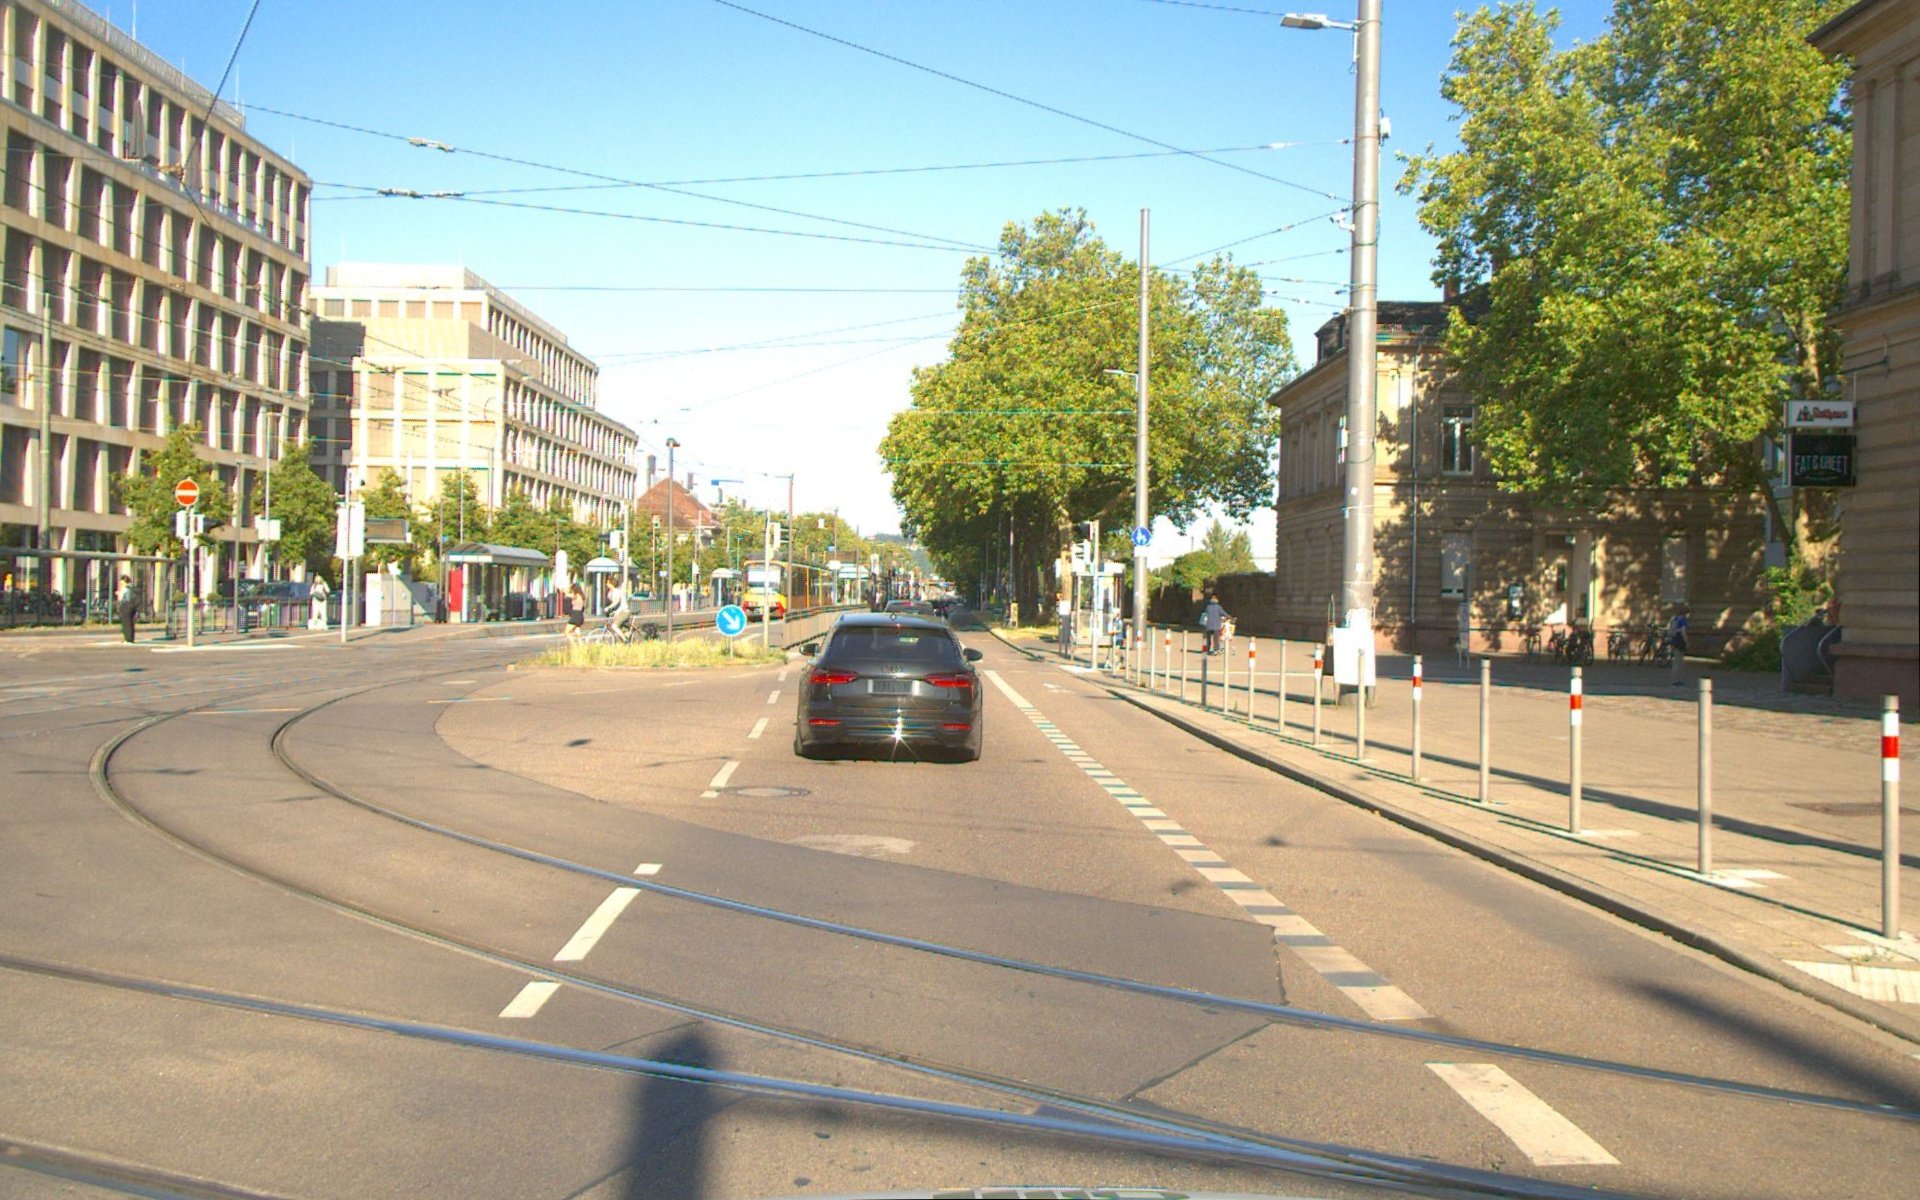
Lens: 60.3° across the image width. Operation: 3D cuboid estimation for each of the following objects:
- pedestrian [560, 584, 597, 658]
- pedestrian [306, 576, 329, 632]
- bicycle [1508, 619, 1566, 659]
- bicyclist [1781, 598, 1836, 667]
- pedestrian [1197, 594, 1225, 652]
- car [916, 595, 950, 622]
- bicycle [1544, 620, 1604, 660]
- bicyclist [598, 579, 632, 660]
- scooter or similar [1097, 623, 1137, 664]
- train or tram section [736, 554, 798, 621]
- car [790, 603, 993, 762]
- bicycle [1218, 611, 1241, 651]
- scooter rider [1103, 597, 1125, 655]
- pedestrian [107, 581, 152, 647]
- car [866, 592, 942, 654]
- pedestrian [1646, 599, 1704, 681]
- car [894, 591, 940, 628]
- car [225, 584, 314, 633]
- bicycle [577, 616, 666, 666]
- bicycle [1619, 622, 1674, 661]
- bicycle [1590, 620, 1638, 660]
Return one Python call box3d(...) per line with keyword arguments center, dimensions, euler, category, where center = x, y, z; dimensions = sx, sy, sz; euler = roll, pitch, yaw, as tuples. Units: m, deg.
box3d(center=(-9.239, 0.495, 40.092), dimensions=(0.725, 1.772, 0.663), euler=(1, 0, -1), category="pedestrian")
box3d(center=(-19.602, 0.122, 50.479), dimensions=(0.609, 1.693, 0.510), euler=(1, 0, -25), category="pedestrian")
box3d(center=(16.362, 1.093, 46.971), dimensions=(0.516, 1.065, 2.355), euler=(1, 0, -8), category="bicycle")
box3d(center=(21.980, 0.836, 42.848), dimensions=(0.962, 1.742, 0.824), euler=(1, 0, -13), category="bicyclist")
box3d(center=(7.461, 0.672, 49.150), dimensions=(0.668, 1.690, 0.758), euler=(1, 0, -2), category="pedestrian")
box3d(center=(-1.532, 0.499, 96.221), dimensions=(1.864, 1.512, 4.144), euler=(1, -1, 0), category="car")
box3d(center=(17.405, 1.135, 46.963), dimensions=(0.516, 1.065, 2.355), euler=(1, 0, -8), category="bicycle")
box3d(center=(-7.948, 0.448, 38.108), dimensions=(0.743, 1.850, 0.762), euler=(1, 0, -11), category="bicyclist")
box3d(center=(3.794, 1.055, 40.063), dimensions=(0.919, 0.983, 0.361), euler=(0, -1, -3), category="scooter or similar")
box3d(center=(-10.790, -0.675, 93.232), dimensions=(2.556, 3.511, 11.127), euler=(1, 0, -2), category="train or tram section")
box3d(center=(-0.641, 0.792, 17.550), dimensions=(1.864, 1.446, 4.144), euler=(1, -1, 0), category="car")
box3d(center=(8.010, 0.914, 49.172), dimensions=(0.426, 1.165, 1.340), euler=(1, 0, -2), category="bicycle")
box3d(center=(3.738, 0.632, 40.067), dimensions=(0.475, 1.410, 0.377), euler=(0, -1, -3), category="scooter rider")
box3d(center=(-19.924, 0.322, 39.671), dimensions=(0.741, 1.559, 0.625), euler=(1, 0, 3), category="pedestrian")
box3d(center=(-1.440, 0.599, 43.898), dimensions=(1.864, 1.512, 4.144), euler=(1, -1, 0), category="car")
box3d(center=(16.805, 0.923, 38.885), dimensions=(0.962, 1.898, 0.824), euler=(1, 0, -14), category="pedestrian")
box3d(center=(-1.820, 0.412, 71.648), dimensions=(1.864, 1.512, 4.144), euler=(1, -1, 0), category="car")
box3d(center=(-26.890, 0.320, 64.549), dimensions=(1.804, 1.844, 4.112), euler=(1, 0, -1), category="car")
box3d(center=(-7.800, 0.944, 38.137), dimensions=(1.970, 1.127, 0.762), euler=(1, 0, -12), category="bicycle")
box3d(center=(19.798, 1.185, 47.731), dimensions=(0.515, 1.065, 2.228), euler=(1, 0, -5), category="bicycle")
box3d(center=(18.761, 1.139, 47.509), dimensions=(0.515, 1.065, 2.231), euler=(1, 0, 1), category="bicycle")
